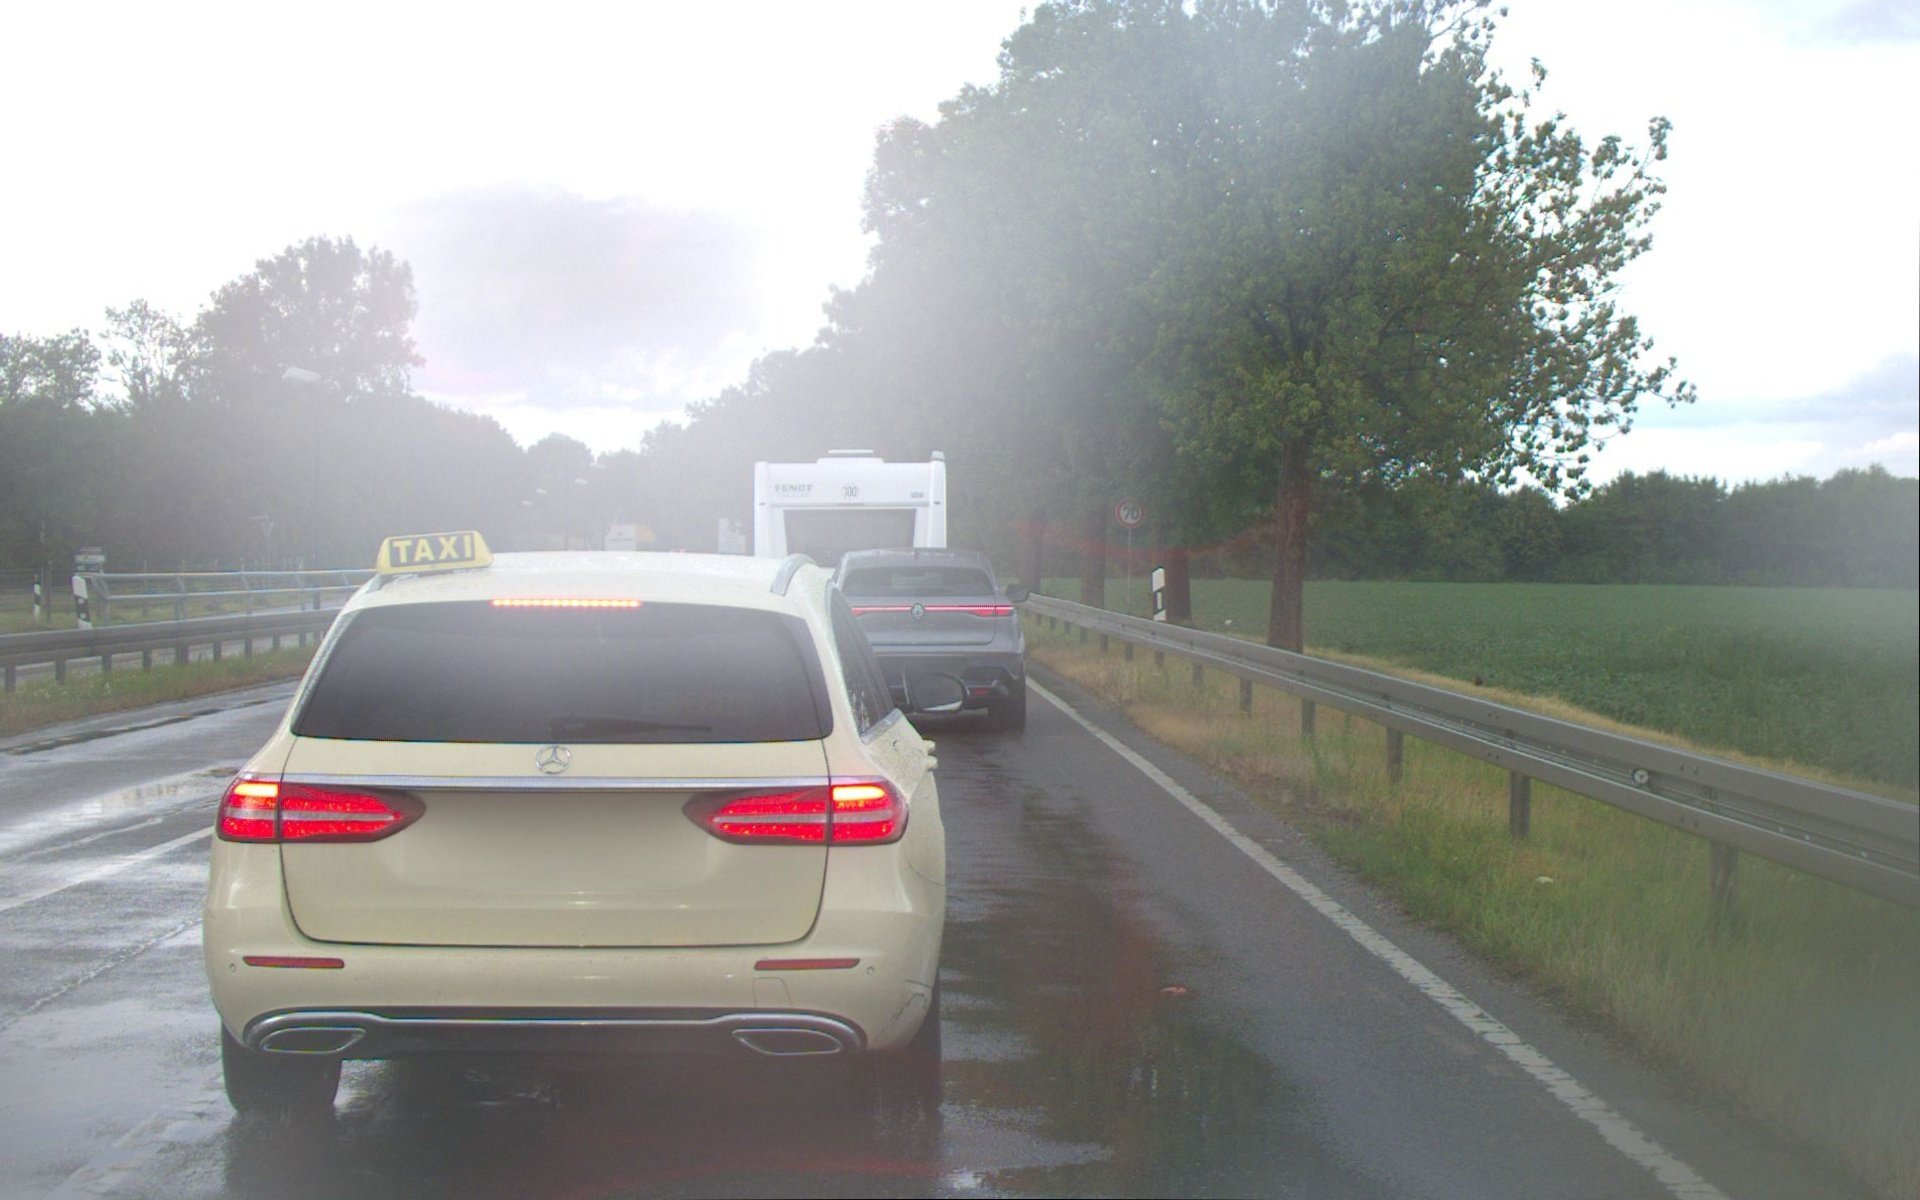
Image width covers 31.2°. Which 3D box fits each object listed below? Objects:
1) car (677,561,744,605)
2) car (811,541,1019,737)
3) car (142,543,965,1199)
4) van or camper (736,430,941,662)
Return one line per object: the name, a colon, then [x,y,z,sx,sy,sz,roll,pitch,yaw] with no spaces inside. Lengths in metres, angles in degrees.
car: [-7.495,-0.524,103.386,1.758,1.265,4.000,0,1,-1]
car: [-0.375,0.272,29.058,1.627,1.524,3.933,0,1,-1]
car: [-0.918,0.589,9.863,1.825,1.480,4.145,-1,1,0]
van or camper: [-1.445,-0.689,42.774,2.350,2.671,5.769,1,1,-1]
